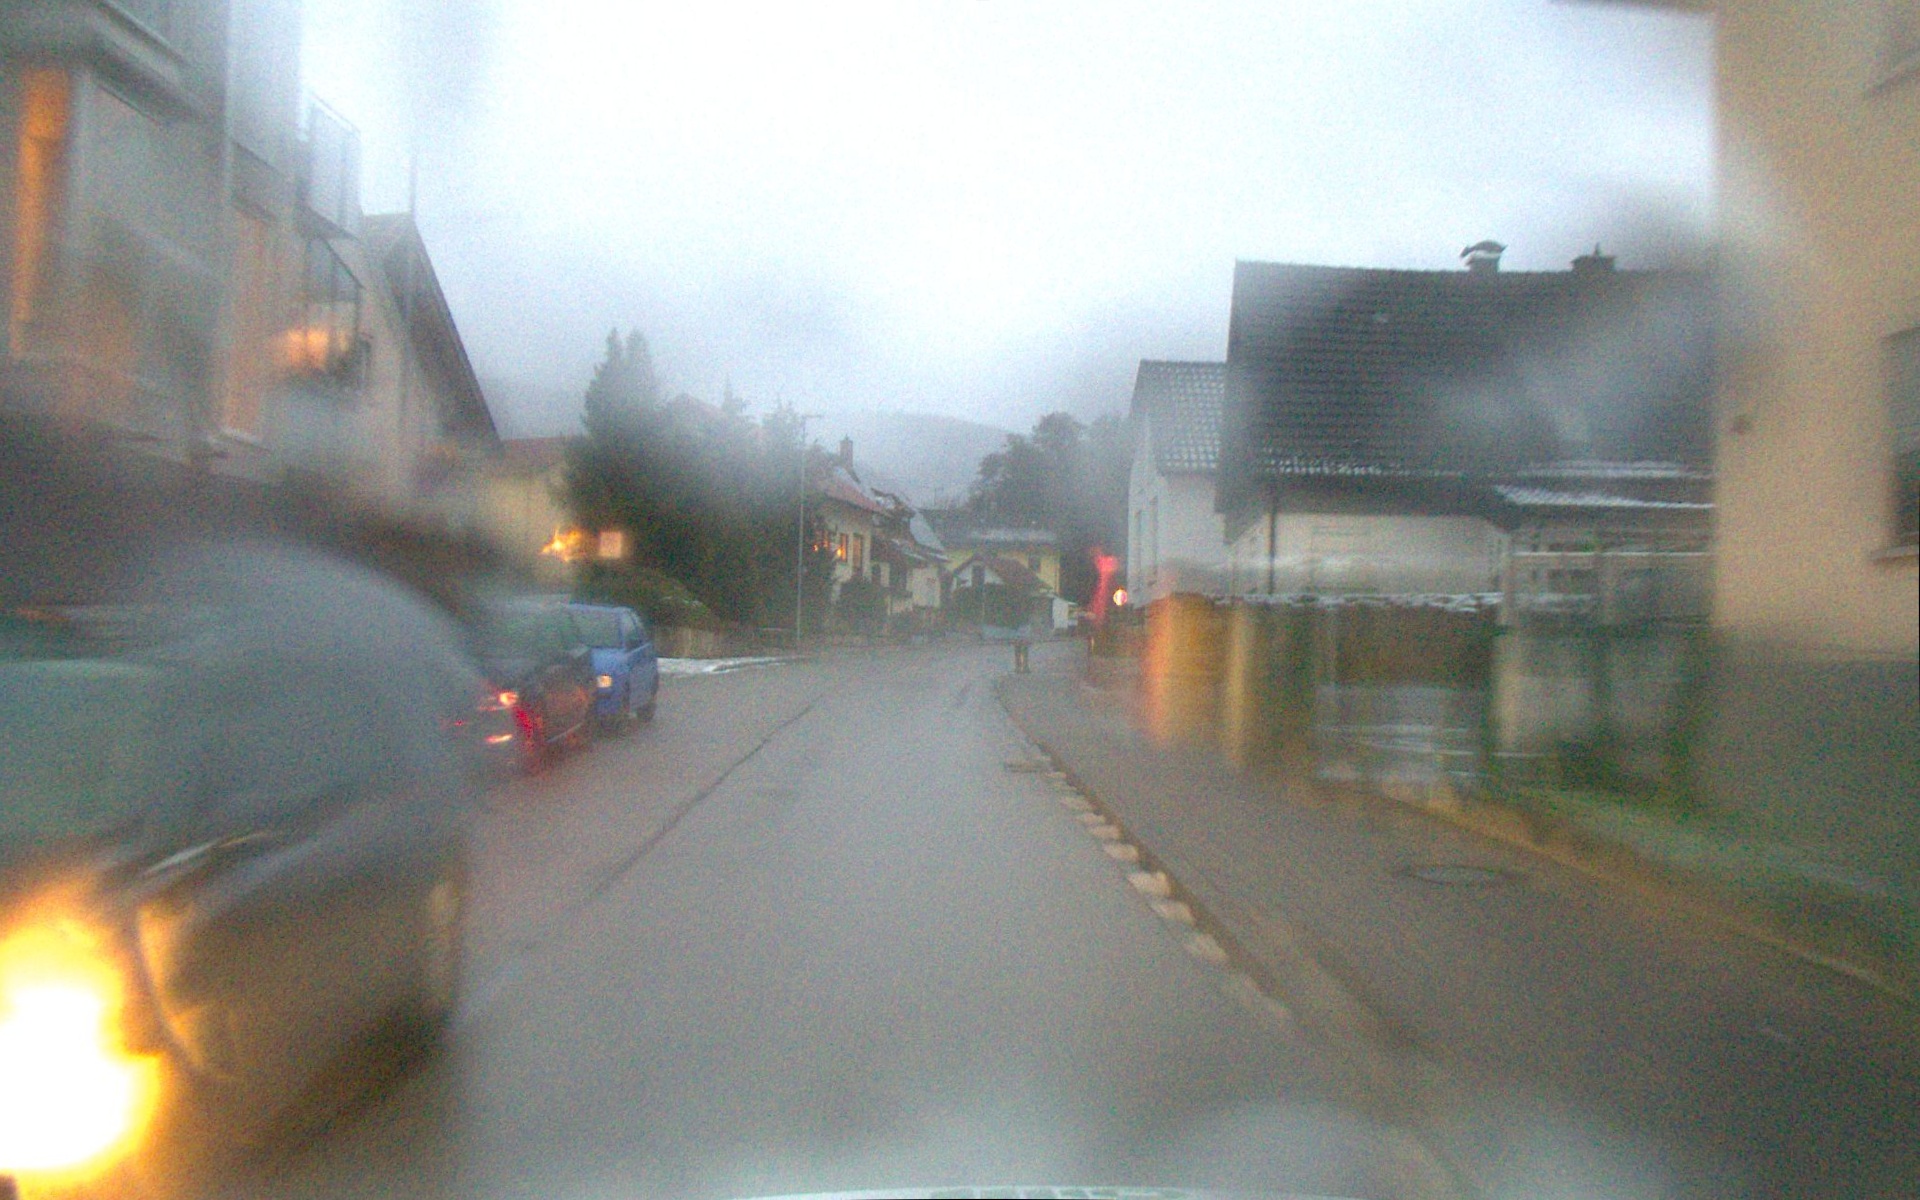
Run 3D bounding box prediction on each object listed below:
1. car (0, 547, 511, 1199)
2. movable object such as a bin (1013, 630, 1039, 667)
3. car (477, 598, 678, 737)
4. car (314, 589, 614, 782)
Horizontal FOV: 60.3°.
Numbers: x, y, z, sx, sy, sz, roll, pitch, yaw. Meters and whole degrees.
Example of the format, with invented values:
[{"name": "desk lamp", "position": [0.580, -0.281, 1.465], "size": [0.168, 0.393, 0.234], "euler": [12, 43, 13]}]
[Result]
[{"name": "car", "position": [-2.395, 0.685, 4.081], "size": [1.739, 1.521, 4.375], "euler": [0, 0, -5]}, {"name": "movable object such as a bin", "position": [1.744, 1.281, 43.595], "size": [0.601, 0.963, 0.595], "euler": [-2, -3, 5]}, {"name": "car", "position": [-4.406, 0.717, 19.598], "size": [1.634, 1.434, 3.911], "euler": [1, 0, -3]}, {"name": "car", "position": [-4.272, 0.683, 14.816], "size": [1.631, 1.442, 3.689], "euler": [3, 0, -2]}]
